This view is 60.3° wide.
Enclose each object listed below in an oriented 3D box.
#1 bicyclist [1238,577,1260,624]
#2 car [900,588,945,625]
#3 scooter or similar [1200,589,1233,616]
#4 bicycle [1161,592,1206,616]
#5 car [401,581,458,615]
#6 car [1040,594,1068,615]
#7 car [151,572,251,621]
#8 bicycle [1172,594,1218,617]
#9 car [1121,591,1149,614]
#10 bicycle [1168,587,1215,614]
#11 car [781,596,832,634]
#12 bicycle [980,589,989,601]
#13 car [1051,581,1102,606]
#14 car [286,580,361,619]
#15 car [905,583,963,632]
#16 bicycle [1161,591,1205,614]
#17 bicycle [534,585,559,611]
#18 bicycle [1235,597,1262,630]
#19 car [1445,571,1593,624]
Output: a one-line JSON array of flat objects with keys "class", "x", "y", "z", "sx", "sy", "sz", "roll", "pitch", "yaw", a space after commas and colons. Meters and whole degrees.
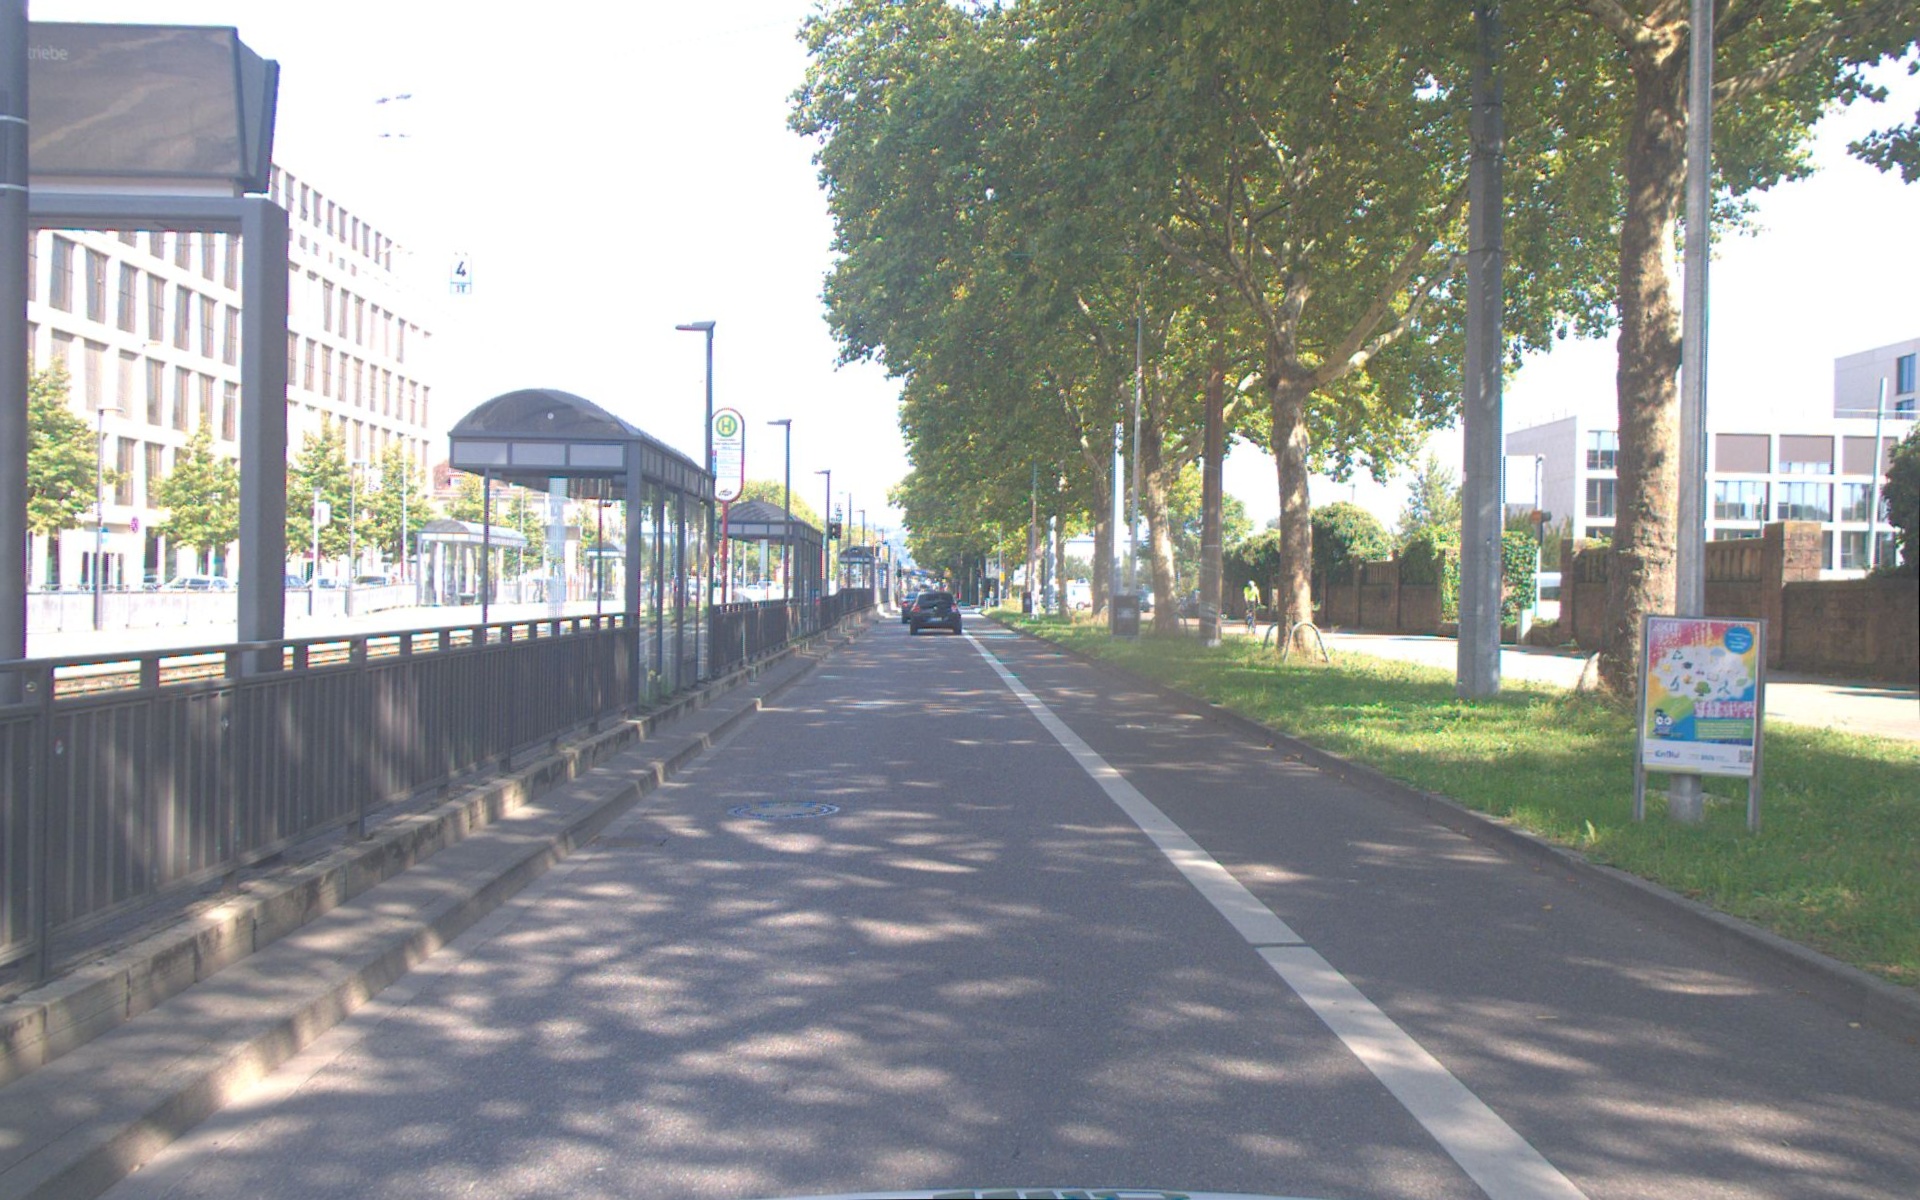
[{"class": "bicyclist", "x": 9.172, "y": 0.001, "z": 52.580, "sx": 0.537, "sy": 1.478, "sz": 0.842, "roll": 0, "pitch": 0, "yaw": -1}, {"class": "car", "x": -1.744, "y": 0.282, "z": 76.344, "sx": 1.934, "sy": 1.564, "sz": 3.998, "roll": -3, "pitch": 0, "yaw": -2}, {"class": "scooter or similar", "x": 11.845, "y": 0.096, "z": 76.402, "sx": 1.474, "sy": 1.212, "sz": 0.539, "roll": -1, "pitch": 0, "yaw": 2}, {"class": "bicycle", "x": 11.205, "y": 0.193, "z": 82.902, "sx": 2.128, "sy": 1.095, "sz": 0.743, "roll": -2, "pitch": 0, "yaw": 2}, {"class": "car", "x": -27.011, "y": -0.112, "z": 84.392, "sx": 1.728, "sy": 1.631, "sz": 4.130, "roll": -1, "pitch": 0, "yaw": -3}, {"class": "car", "x": 6.813, "y": 0.301, "z": 119.728, "sx": 1.693, "sy": 1.474, "sz": 4.550, "roll": -1, "pitch": 0, "yaw": -1}, {"class": "car", "x": -26.234, "y": -0.129, "z": 57.296, "sx": 1.728, "sy": 1.602, "sz": 4.130, "roll": -1, "pitch": 0, "yaw": -3}, {"class": "bicycle", "x": 11.443, "y": 0.267, "z": 80.697, "sx": 2.130, "sy": 1.095, "sz": 0.743, "roll": 0, "pitch": 0, "yaw": -3}, {"class": "car", "x": 12.765, "y": 0.167, "z": 121.083, "sx": 1.575, "sy": 1.603, "sz": 3.795, "roll": -1, "pitch": 0, "yaw": -1}, {"class": "bicycle", "x": 11.922, "y": 0.046, "z": 85.236, "sx": 2.199, "sy": 1.299, "sz": 0.998, "roll": -2, "pitch": -1, "yaw": -2}, {"class": "car", "x": -7.044, "y": 0.651, "z": 76.232, "sx": 1.953, "sy": 1.586, "sz": 4.000, "roll": -2, "pitch": 1, "yaw": -1}, {"class": "bicycle", "x": 2.178, "y": -0.465, "z": 148.484, "sx": 0.598, "sy": 1.039, "sz": 2.400, "roll": 0, "pitch": 1, "yaw": -5}, {"class": "car", "x": 9.349, "y": -0.530, "z": 133.134, "sx": 4.018, "sy": 1.952, "sz": 1.848, "roll": -1, "pitch": 0, "yaw": 1}, {"class": "car", "x": -26.867, "y": -0.028, "z": 69.900, "sx": 1.728, "sy": 1.602, "sz": 4.130, "roll": -1, "pitch": 0, "yaw": -3}, {"class": "car", "x": -0.933, "y": 0.239, "z": 56.595, "sx": 1.869, "sy": 1.564, "sz": 3.998, "roll": -1, "pitch": 0, "yaw": -2}, {"class": "bicycle", "x": 11.277, "y": 0.137, "z": 83.720, "sx": 2.128, "sy": 1.095, "sz": 0.743, "roll": -2, "pitch": 0, "yaw": 2}, {"class": "bicycle", "x": -18.775, "y": -0.104, "z": 75.086, "sx": 0.461, "sy": 1.167, "sz": 1.485, "roll": 1, "pitch": 0, "yaw": 13}, {"class": "bicycle", "x": 9.164, "y": 0.415, "z": 52.622, "sx": 0.537, "sy": 1.024, "sz": 1.713, "roll": 0, "pitch": 1, "yaw": -1}, {"class": "car", "x": 19.034, "y": -0.101, "z": 56.412, "sx": 4.431, "sy": 1.764, "sz": 1.908, "roll": 0, "pitch": 0, "yaw": -4}]
